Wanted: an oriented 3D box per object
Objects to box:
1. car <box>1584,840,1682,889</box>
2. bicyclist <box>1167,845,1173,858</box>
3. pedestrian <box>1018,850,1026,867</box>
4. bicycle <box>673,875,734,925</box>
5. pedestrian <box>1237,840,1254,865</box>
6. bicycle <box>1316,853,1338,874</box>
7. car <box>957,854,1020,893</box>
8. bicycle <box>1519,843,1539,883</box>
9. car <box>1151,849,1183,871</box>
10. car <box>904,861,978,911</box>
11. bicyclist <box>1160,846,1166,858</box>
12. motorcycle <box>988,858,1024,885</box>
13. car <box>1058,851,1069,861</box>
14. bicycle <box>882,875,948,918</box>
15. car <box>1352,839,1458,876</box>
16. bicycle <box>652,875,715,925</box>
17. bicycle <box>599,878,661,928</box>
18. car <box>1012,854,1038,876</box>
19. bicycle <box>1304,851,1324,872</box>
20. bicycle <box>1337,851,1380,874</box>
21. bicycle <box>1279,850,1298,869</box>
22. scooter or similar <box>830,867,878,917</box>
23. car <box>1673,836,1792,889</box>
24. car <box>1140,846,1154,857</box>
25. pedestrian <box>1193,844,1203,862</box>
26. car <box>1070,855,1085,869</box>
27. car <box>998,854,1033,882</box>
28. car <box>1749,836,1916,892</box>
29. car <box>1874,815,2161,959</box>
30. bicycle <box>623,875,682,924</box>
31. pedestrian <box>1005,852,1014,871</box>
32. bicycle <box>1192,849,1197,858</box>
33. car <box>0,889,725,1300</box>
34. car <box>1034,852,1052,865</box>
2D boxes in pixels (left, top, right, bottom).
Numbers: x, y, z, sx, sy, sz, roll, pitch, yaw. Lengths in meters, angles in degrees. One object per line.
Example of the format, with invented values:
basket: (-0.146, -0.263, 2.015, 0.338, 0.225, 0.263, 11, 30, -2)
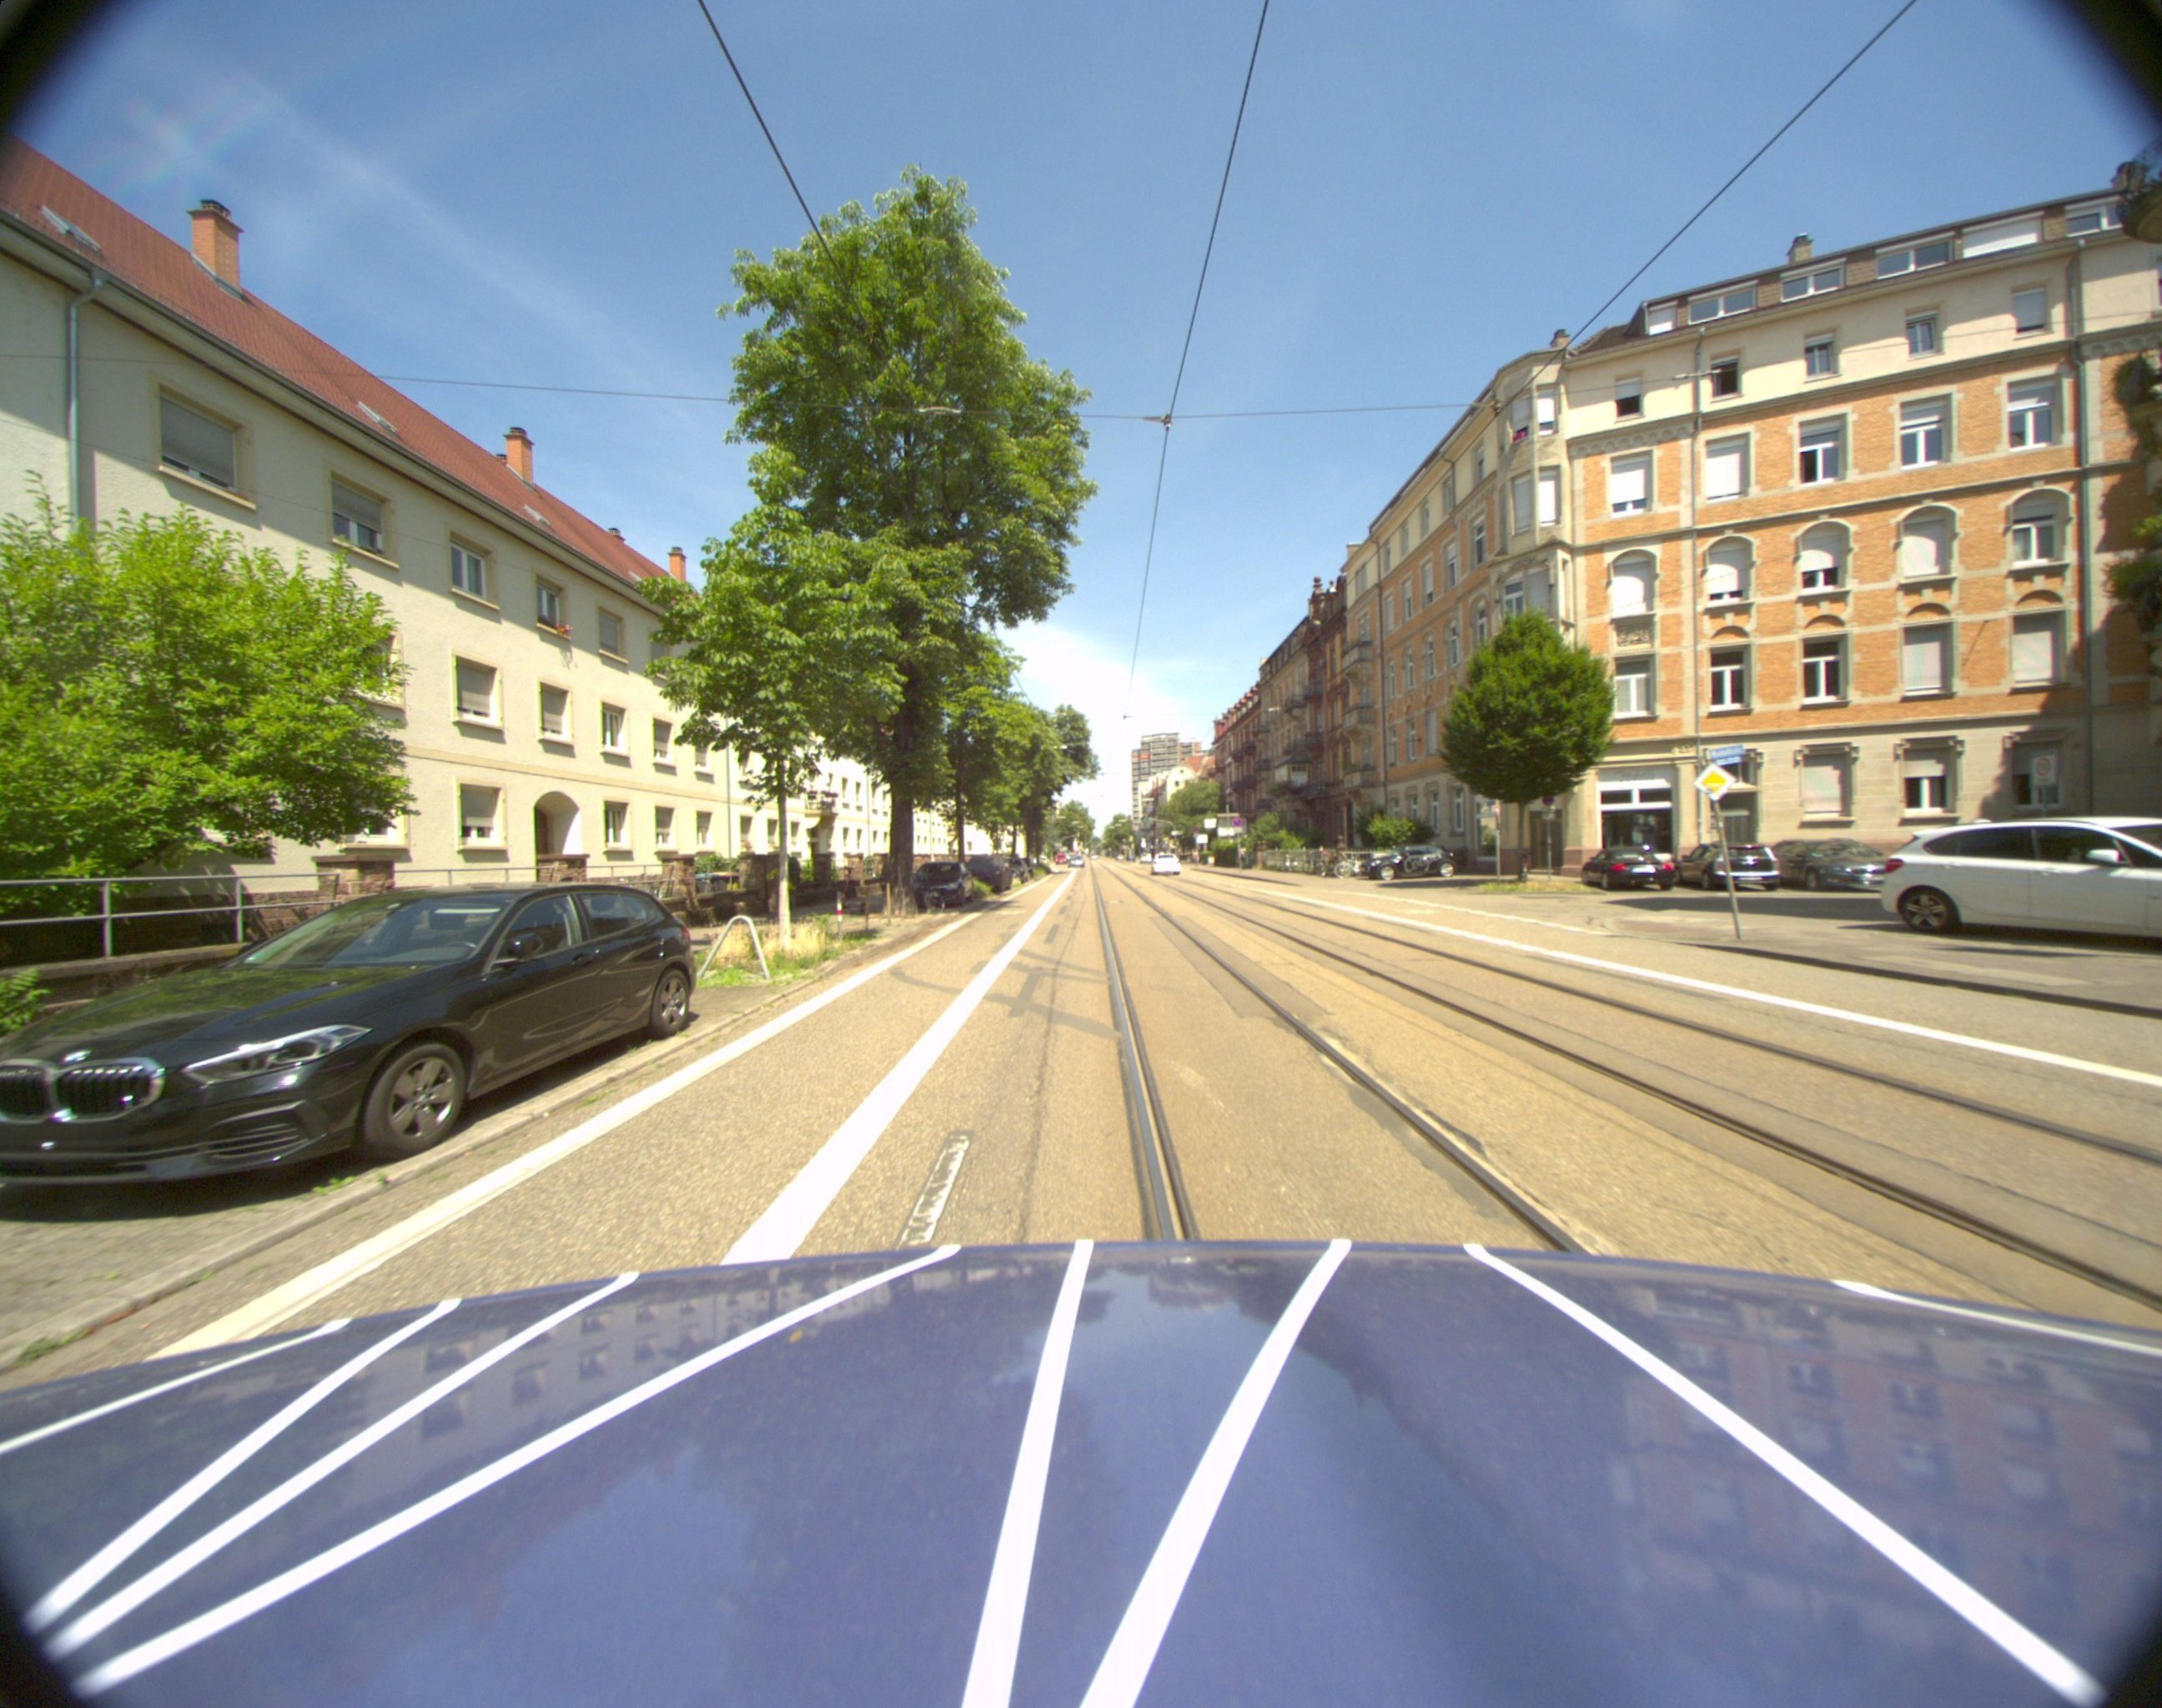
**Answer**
car: (17.653, 0.300, 24.489, 1.627, 1.331, 3.776, -1, 3, 21)
bicyclist: (10.950, -0.285, 93.873, 0.635, 1.575, 1.028, 0, 1, 0)
pedestrian: (-5.951, 0.428, 76.311, 0.699, 1.660, 0.756, -1, 1, -1)
bicycle: (-9.143, 1.095, 18.495, 0.480, 1.072, 1.924, -1, 1, 0)
pedestrian: (11.520, -0.101, 53.187, 0.853, 1.713, 1.138, -4, 1, 1)
bicycle: (11.552, 0.425, 35.759, 0.440, 0.978, 1.710, -2, 0, -1)
car: (-4.151, 0.832, 34.844, 1.952, 1.641, 4.881, -1, 0, 4)
bicycle: (15.027, 0.294, 25.503, 0.500, 1.221, 1.853, 0, 3, 29)
car: (5.710, 0.373, 50.701, 1.760, 1.416, 4.000, -1, 1, 1)
car: (-4.441, 0.962, 24.657, 1.699, 1.410, 4.356, -1, 0, -2)
bicyclist: (10.108, -0.233, 93.715, 0.594, 1.535, 0.952, 0, 1, 0)
motorcycle: (-4.125, 0.947, 41.794, 1.919, 1.425, 0.671, -2, 1, -8)
car: (-2.920, 0.286, 126.324, 1.737, 1.543, 4.423, -1, 0, -1)
bicycle: (-4.389, 1.124, 20.170, 1.658, 1.072, 0.606, -1, 1, -7)
car: (13.730, 0.145, 32.328, 3.769, 1.420, 1.713, -2, 2, 1)
bicycle: (-9.629, 1.090, 18.483, 0.480, 1.072, 1.924, -1, 1, 0)
bicycle: (-11.000, 1.163, 18.589, 0.480, 1.072, 1.923, -1, 1, -5)
car: (-3.975, 0.752, 54.239, 1.661, 1.506, 3.999, -1, 0, -2)
bicycle: (11.588, 0.365, 37.800, 0.440, 0.978, 1.710, -2, 0, -1)
bicycle: (12.526, 0.382, 34.335, 1.709, 1.031, 0.551, -1, 1, 5)
bicycle: (11.728, 0.303, 42.942, 0.498, 0.981, 1.710, -5, 0, -1)
scooter or similar: (-5.895, 0.971, 19.796, 0.379, 1.206, 1.250, -1, 1, 31)
car: (20.159, 0.216, 23.698, 1.627, 1.431, 3.776, -1, 3, 21)
car: (9.123, -0.393, 105.332, 1.689, 1.441, 4.000, -1, 0, 2)
pedestrian: (11.378, -0.099, 73.851, 0.873, 1.690, 1.014, -1, 1, 7)
car: (-0.425, 0.901, 89.212, 1.737, 1.543, 4.423, -1, 0, -1)
car: (-3.885, 0.805, 45.637, 1.737, 1.543, 4.453, -1, 0, -1)
car: (22.179, 0.234, 22.701, 1.742, 1.357, 4.831, -1, 3, 21)
car: (12.953, 0.339, 9.390, 1.871, 1.591, 4.100, -3, 1, -4)
bicycle: (-10.471, 1.083, 18.630, 0.480, 1.072, 1.923, -1, 1, -5)
pedestrian: (-6.524, 0.698, 69.400, 0.699, 1.660, 0.756, 1, 1, 0)
bicycle: (13.774, -0.028, 92.052, 0.460, 1.050, 1.565, -1, 0, 4)
car: (-4.551, 1.088, 5.470, 1.774, 1.418, 4.861, -1, 0, -2)
car: (-4.372, 0.538, 88.243, 1.782, 1.402, 4.156, 3, 0, 0)
